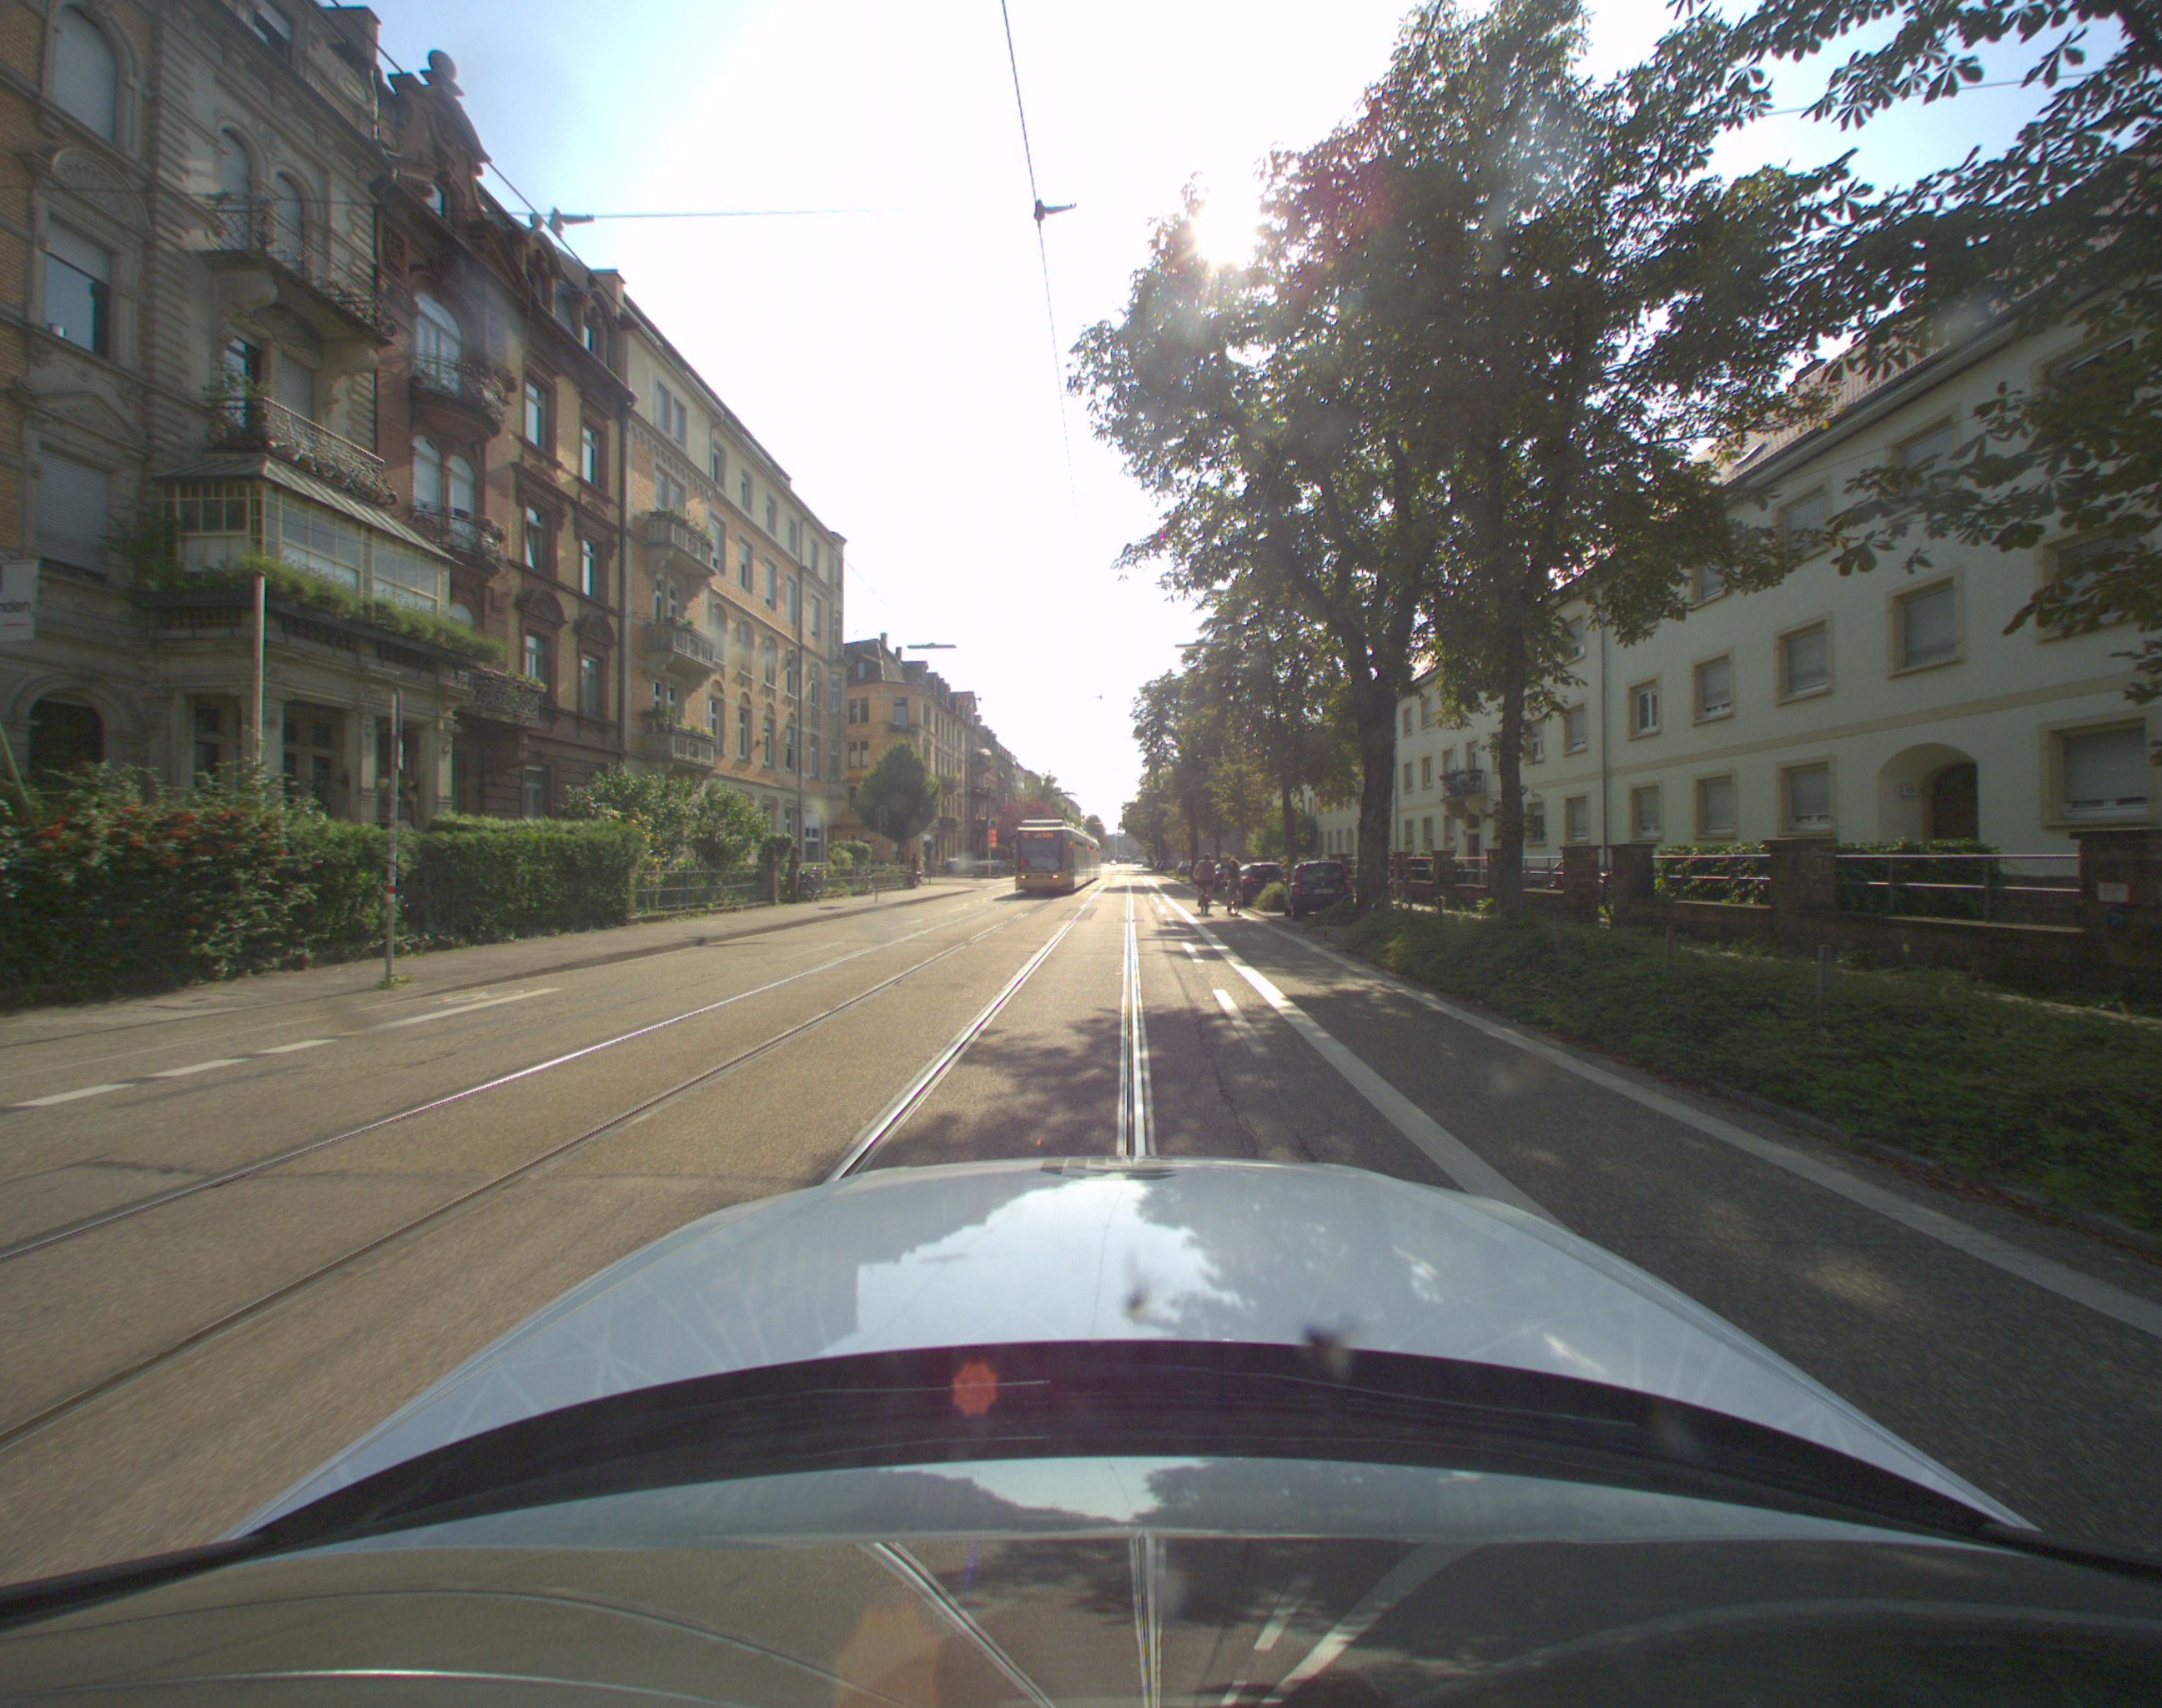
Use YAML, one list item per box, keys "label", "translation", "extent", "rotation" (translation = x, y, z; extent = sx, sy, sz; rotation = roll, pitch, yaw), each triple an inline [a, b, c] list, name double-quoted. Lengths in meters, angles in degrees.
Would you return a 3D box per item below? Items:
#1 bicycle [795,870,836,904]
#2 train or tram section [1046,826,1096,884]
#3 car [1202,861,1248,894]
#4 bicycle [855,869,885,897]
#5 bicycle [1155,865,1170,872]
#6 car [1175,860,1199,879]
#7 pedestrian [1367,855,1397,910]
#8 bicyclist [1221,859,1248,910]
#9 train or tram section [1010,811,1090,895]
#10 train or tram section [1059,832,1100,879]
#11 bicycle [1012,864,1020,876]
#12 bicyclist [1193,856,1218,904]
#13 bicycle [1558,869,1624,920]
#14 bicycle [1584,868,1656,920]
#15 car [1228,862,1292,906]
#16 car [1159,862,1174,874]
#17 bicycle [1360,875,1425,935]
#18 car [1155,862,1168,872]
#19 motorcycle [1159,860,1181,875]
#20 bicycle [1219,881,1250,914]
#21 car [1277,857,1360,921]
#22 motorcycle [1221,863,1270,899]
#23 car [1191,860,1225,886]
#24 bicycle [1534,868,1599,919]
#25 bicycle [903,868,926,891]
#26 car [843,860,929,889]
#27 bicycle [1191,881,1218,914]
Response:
- label: "bicycle"
  translation: [-9.066, 1.113, 27.899]
  extent: [0.604, 1.058, 1.842]
  rotation: [4, 0, 5]
- label: "train or tram section"
  translation: [-0.521, 0.125, 54.749]
  extent: [2.723, 3.506, 10.783]
  rotation: [0, -1, 3]
- label: "car"
  translation: [7.137, 1.141, 40.761]
  extent: [1.683, 1.435, 4.339]
  rotation: [-3, -1, 3]
- label: "bicycle"
  translation: [-8.739, 1.189, 33.829]
  extent: [0.542, 1.058, 1.842]
  rotation: [4, 0, 5]
- label: "bicycle"
  translation: [12.151, 2.176, 121.658]
  extent: [2.102, 1.105, 0.562]
  rotation: [0, -1, -4]
- label: "car"
  translation: [9.069, 1.342, 69.976]
  extent: [1.736, 1.561, 4.723]
  rotation: [-1, -1, 4]
- label: "pedestrian"
  translation: [9.666, 0.899, 26.163]
  extent: [0.748, 1.749, 0.880]
  rotation: [0, -1, 9]
- label: "bicyclist"
  translation: [4.632, 0.907, 24.552]
  extent: [0.652, 1.474, 0.909]
  rotation: [1, -1, 2]
- label: "train or tram section"
  translation: [-1.223, 0.005, 41.708]
  extent: [2.723, 3.506, 15.443]
  rotation: [0, 0, 3]
- label: "train or tram section"
  translation: [0.023, 0.171, 65.539]
  extent: [2.723, 3.506, 10.783]
  rotation: [0, -1, 3]
- label: "bicycle"
  translation: [-6.071, 1.512, 75.918]
  extent: [0.506, 1.108, 2.005]
  rotation: [0, -1, 4]
- label: "bicyclist"
  translation: [3.697, 0.766, 24.282]
  extent: [0.624, 1.401, 0.930]
  rotation: [1, -1, 2]
- label: "bicycle"
  translation: [11.437, 0.880, 18.319]
  extent: [0.521, 1.073, 1.730]
  rotation: [0, -1, 4]
- label: "bicycle"
  translation: [11.681, 0.840, 17.712]
  extent: [0.521, 1.073, 1.730]
  rotation: [0, -1, 4]
- label: "car"
  translation: [6.478, 1.051, 29.896]
  extent: [1.638, 1.448, 4.249]
  rotation: [-2, -1, 4]
- label: "car"
  translation: [11.328, 1.799, 108.305]
  extent: [1.719, 1.504, 3.987]
  rotation: [-2, -1, 3]
- label: "bicycle"
  translation: [6.059, 0.957, 15.807]
  extent: [0.519, 1.073, 1.738]
  rotation: [-1, -1, 44]
- label: "car"
  translation: [12.344, 1.990, 125.314]
  extent: [1.764, 1.473, 3.977]
  rotation: [-1, -2, 4]
- label: "motorcycle"
  translation: [10.142, 1.555, 92.503]
  extent: [0.919, 1.674, 2.390]
  rotation: [-2, -1, -42]
- label: "bicycle"
  translation: [4.614, 1.303, 24.562]
  extent: [0.652, 0.909, 1.776]
  rotation: [1, -1, 3]
- label: "car"
  translation: [6.360, 0.901, 22.199]
  extent: [1.636, 1.540, 3.851]
  rotation: [-2, -1, 9]
- label: "motorcycle"
  translation: [6.894, 1.128, 34.211]
  extent: [1.848, 1.289, 0.705]
  rotation: [-4, 4, 0]
- label: "car"
  translation: [7.981, 1.166, 51.528]
  extent: [1.683, 1.502, 4.098]
  rotation: [-3, -1, 3]
- label: "bicycle"
  translation: [10.822, 0.851, 18.220]
  extent: [0.521, 1.073, 1.730]
  rotation: [0, -1, 4]
- label: "bicycle"
  translation: [-8.345, 1.263, 40.849]
  extent: [0.542, 1.058, 1.842]
  rotation: [4, 0, 5]
- label: "car"
  translation: [-10.602, 1.110, 44.421]
  extent: [4.121, 1.543, 2.065]
  rotation: [0, -2, 2]
- label: "bicycle"
  translation: [3.675, 1.277, 24.265]
  extent: [0.624, 0.909, 1.526]
  rotation: [1, -1, 2]
